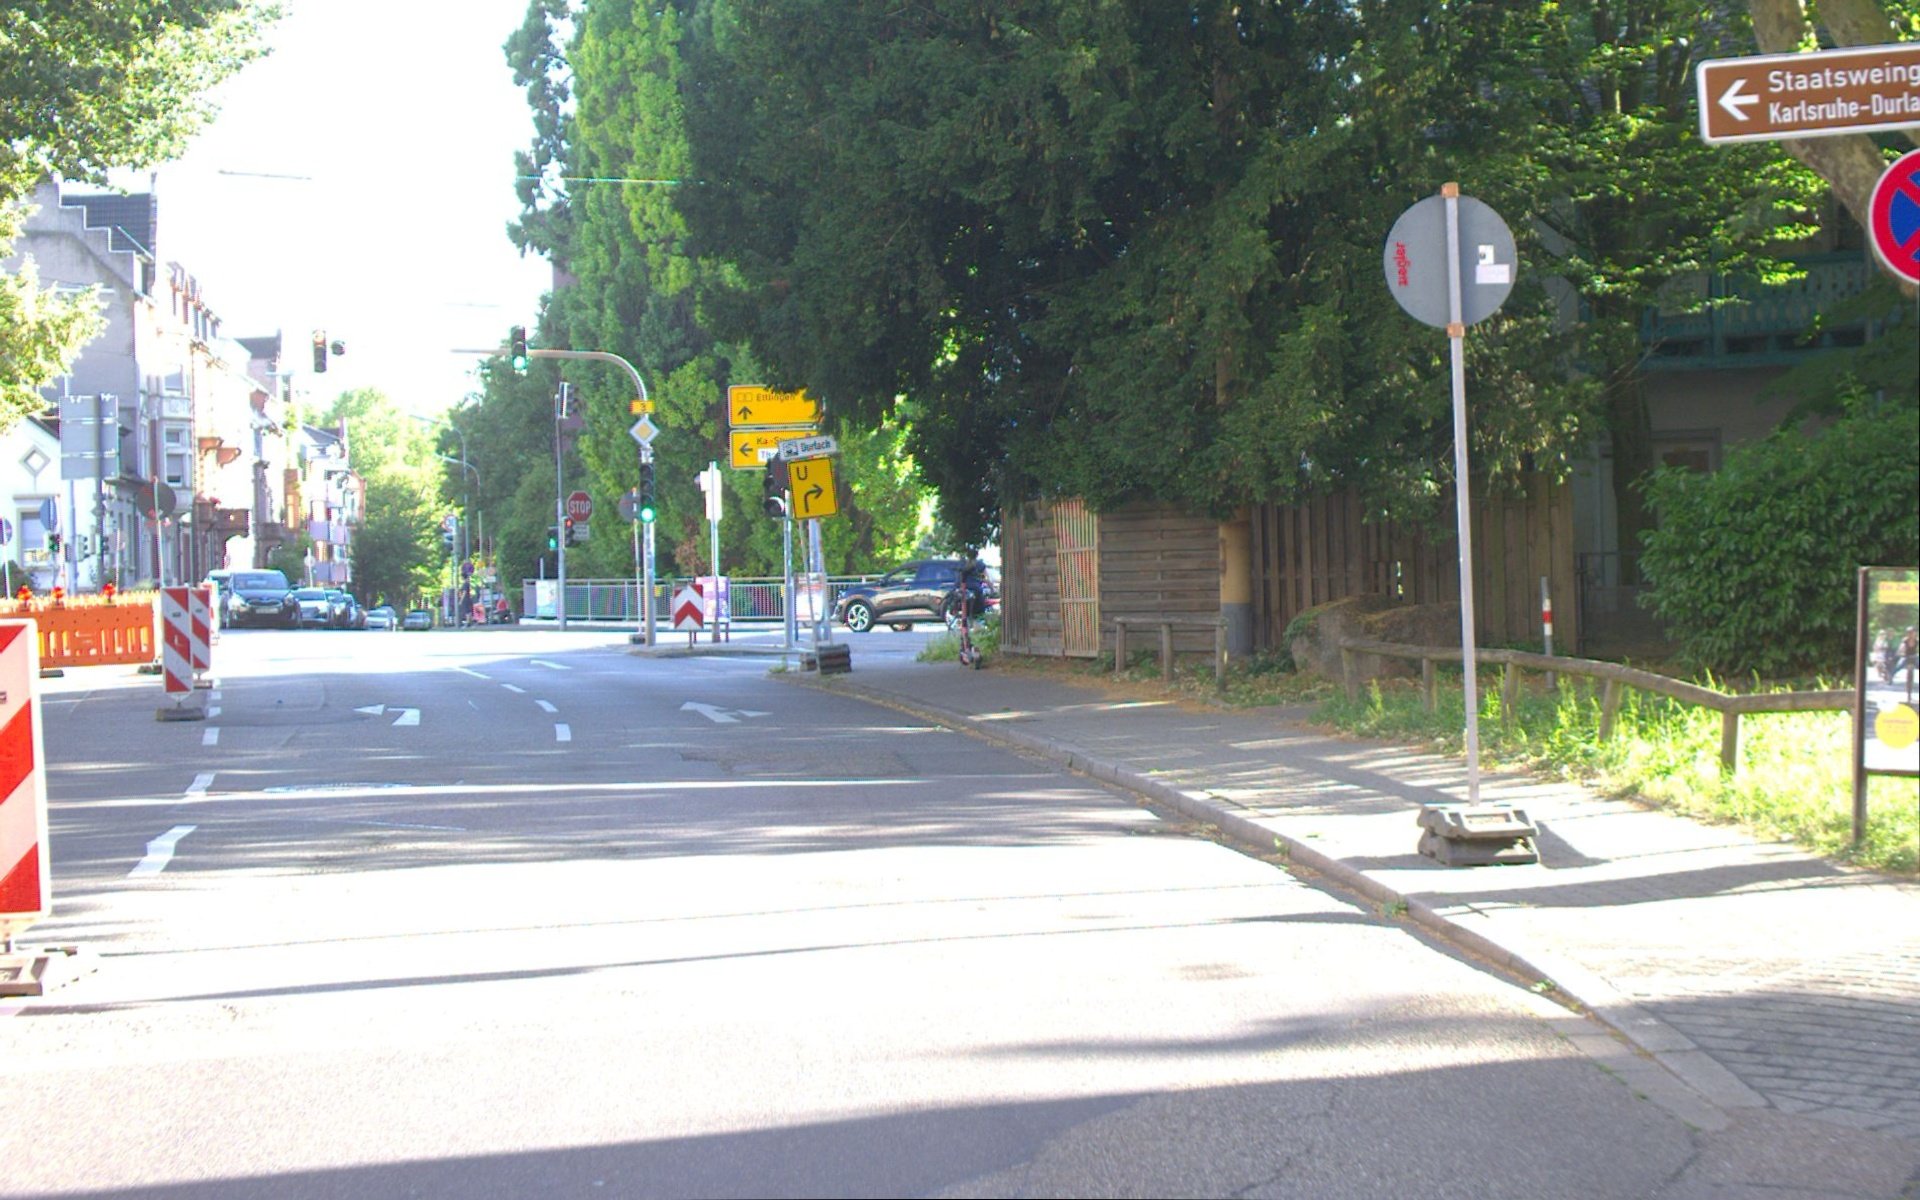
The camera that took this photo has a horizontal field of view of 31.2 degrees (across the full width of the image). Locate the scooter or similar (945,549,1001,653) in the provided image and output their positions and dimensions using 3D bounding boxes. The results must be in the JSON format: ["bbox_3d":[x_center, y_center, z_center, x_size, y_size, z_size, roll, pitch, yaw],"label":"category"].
[{"bbox_3d":[0.148,0.003,41.417,0.438,1.198,1.259,-4,1,-7],"label":"scooter or similar"}]

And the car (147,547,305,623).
[{"bbox_3d":[-19.449,-0.418,90.995,4.249,1.809,1.995,1,5,44],"label":"car"}]

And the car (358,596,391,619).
[{"bbox_3d":[-40.883,0.515,240.090,1.993,1.486,4.471,-1,1,-7],"label":"car"}]

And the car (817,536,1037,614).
[{"bbox_3d":[-0.766,-0.550,78.077,4.658,1.664,1.996,0,-2,34],"label":"car"}]
